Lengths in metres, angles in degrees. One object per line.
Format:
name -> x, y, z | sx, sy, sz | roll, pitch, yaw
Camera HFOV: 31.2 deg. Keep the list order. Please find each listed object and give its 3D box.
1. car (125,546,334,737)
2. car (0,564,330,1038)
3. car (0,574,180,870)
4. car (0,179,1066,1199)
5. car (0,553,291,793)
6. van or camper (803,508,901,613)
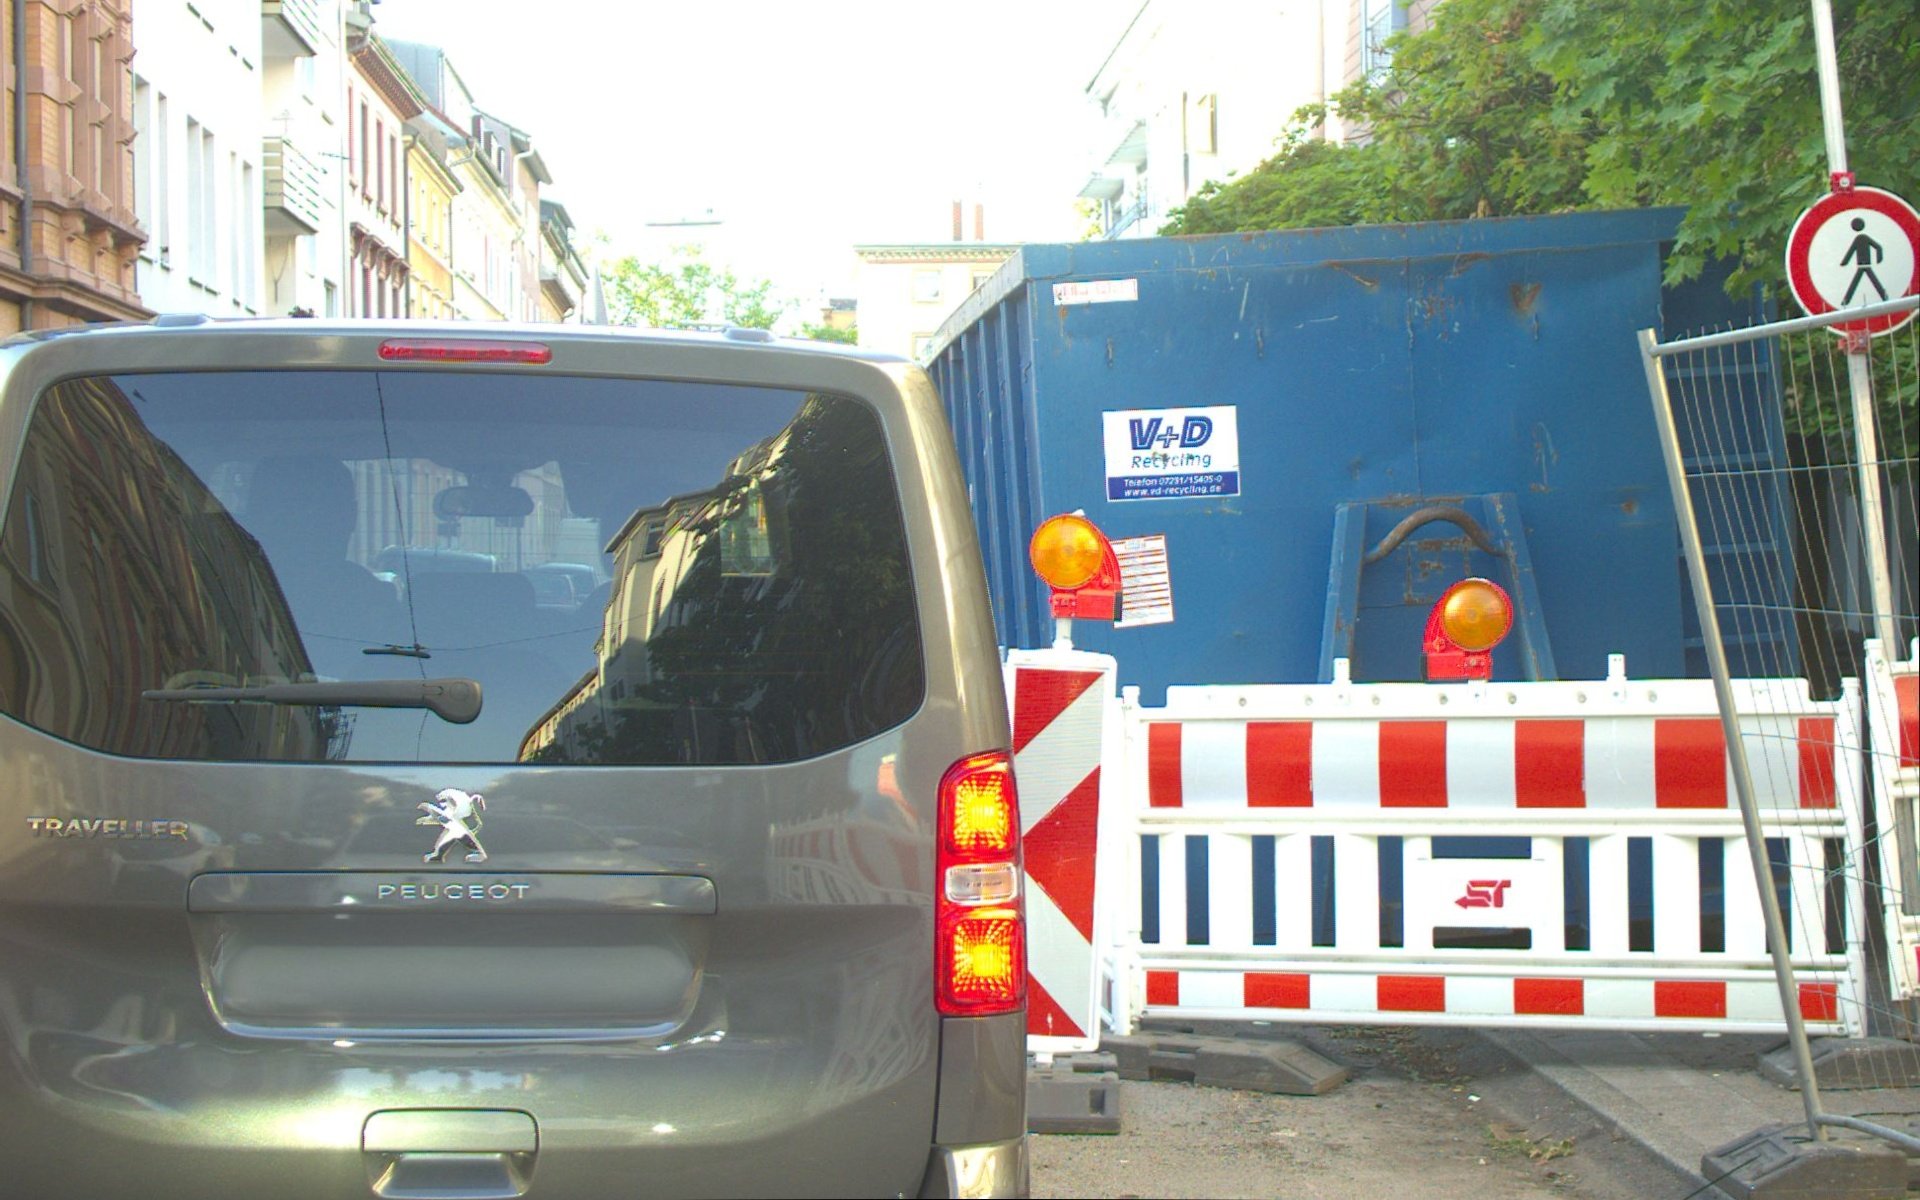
car -> -6.498, 0.335, 30.778 | 1.395, 1.583, 2.794 | -2, 1, -4
car -> -3.884, 0.631, 11.481 | 1.995, 1.481, 3.997 | 0, 1, 15
car -> -5.304, 0.589, 18.600 | 1.632, 1.425, 3.556 | 0, 1, -5
car -> -0.931, 0.405, 6.877 | 1.857, 2.007, 4.001 | -2, 1, -4
car -> -5.711, 0.451, 24.073 | 1.555, 1.503, 3.598 | 2, 1, -4
van or camper -> -2.883, -1.034, 90.215 | 2.099, 2.593, 7.514 | -2, 1, -5
